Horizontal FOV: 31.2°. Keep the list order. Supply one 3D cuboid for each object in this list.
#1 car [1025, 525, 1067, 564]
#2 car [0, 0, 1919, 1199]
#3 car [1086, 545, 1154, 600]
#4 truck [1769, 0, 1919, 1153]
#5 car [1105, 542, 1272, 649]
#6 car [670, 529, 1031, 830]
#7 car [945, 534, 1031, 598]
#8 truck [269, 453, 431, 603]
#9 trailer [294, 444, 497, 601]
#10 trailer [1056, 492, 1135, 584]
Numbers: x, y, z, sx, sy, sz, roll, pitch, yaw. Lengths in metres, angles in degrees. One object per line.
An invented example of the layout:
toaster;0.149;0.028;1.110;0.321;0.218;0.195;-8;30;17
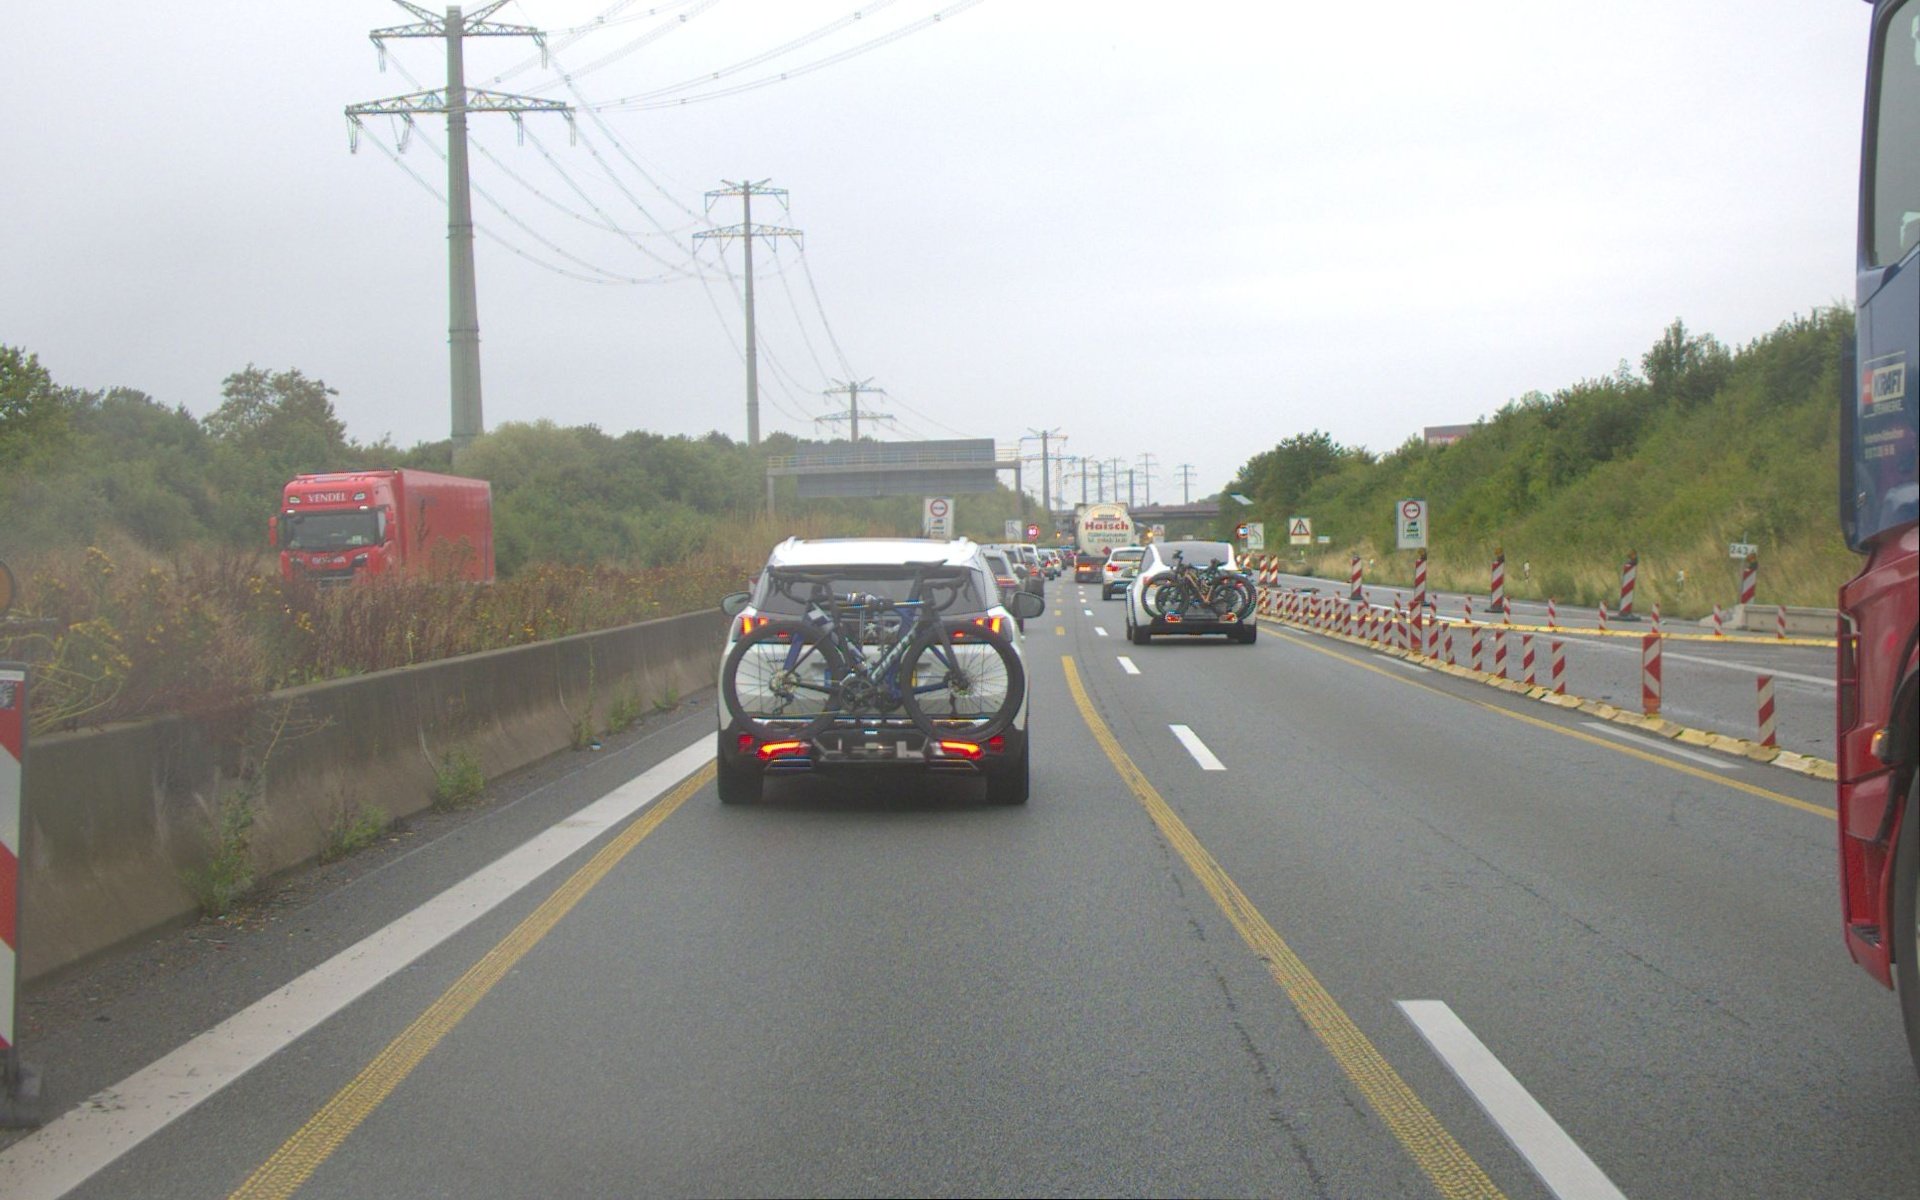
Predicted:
car;4.525;-2.939;181.520;1.993;2.007;4.000;1;0;-2
car;-0.618;0.658;3.074;1.993;1.754;4.000;-2;1;0
car;4.611;-0.815;99.625;1.870;1.529;4.197;0;1;1
truck;3.640;-0.600;7.990;2.547;3.933;4.000;1;0;0
car;3.541;-0.108;54.299;2.045;1.590;5.802;1;1;-2
car;-0.573;0.387;20.700;1.928;1.605;4.595;0;1;0
car;0.674;-0.866;85.741;1.993;1.578;4.001;0;1;-2
truck;-14.735;-1.706;83.387;3.024;3.519;4.927;1;0;0
trailer;-14.722;-1.926;90.914;3.037;3.801;13.978;1;0;0
trailer;5.916;-2.674;151.641;2.637;3.880;10.544;1;0;-2
